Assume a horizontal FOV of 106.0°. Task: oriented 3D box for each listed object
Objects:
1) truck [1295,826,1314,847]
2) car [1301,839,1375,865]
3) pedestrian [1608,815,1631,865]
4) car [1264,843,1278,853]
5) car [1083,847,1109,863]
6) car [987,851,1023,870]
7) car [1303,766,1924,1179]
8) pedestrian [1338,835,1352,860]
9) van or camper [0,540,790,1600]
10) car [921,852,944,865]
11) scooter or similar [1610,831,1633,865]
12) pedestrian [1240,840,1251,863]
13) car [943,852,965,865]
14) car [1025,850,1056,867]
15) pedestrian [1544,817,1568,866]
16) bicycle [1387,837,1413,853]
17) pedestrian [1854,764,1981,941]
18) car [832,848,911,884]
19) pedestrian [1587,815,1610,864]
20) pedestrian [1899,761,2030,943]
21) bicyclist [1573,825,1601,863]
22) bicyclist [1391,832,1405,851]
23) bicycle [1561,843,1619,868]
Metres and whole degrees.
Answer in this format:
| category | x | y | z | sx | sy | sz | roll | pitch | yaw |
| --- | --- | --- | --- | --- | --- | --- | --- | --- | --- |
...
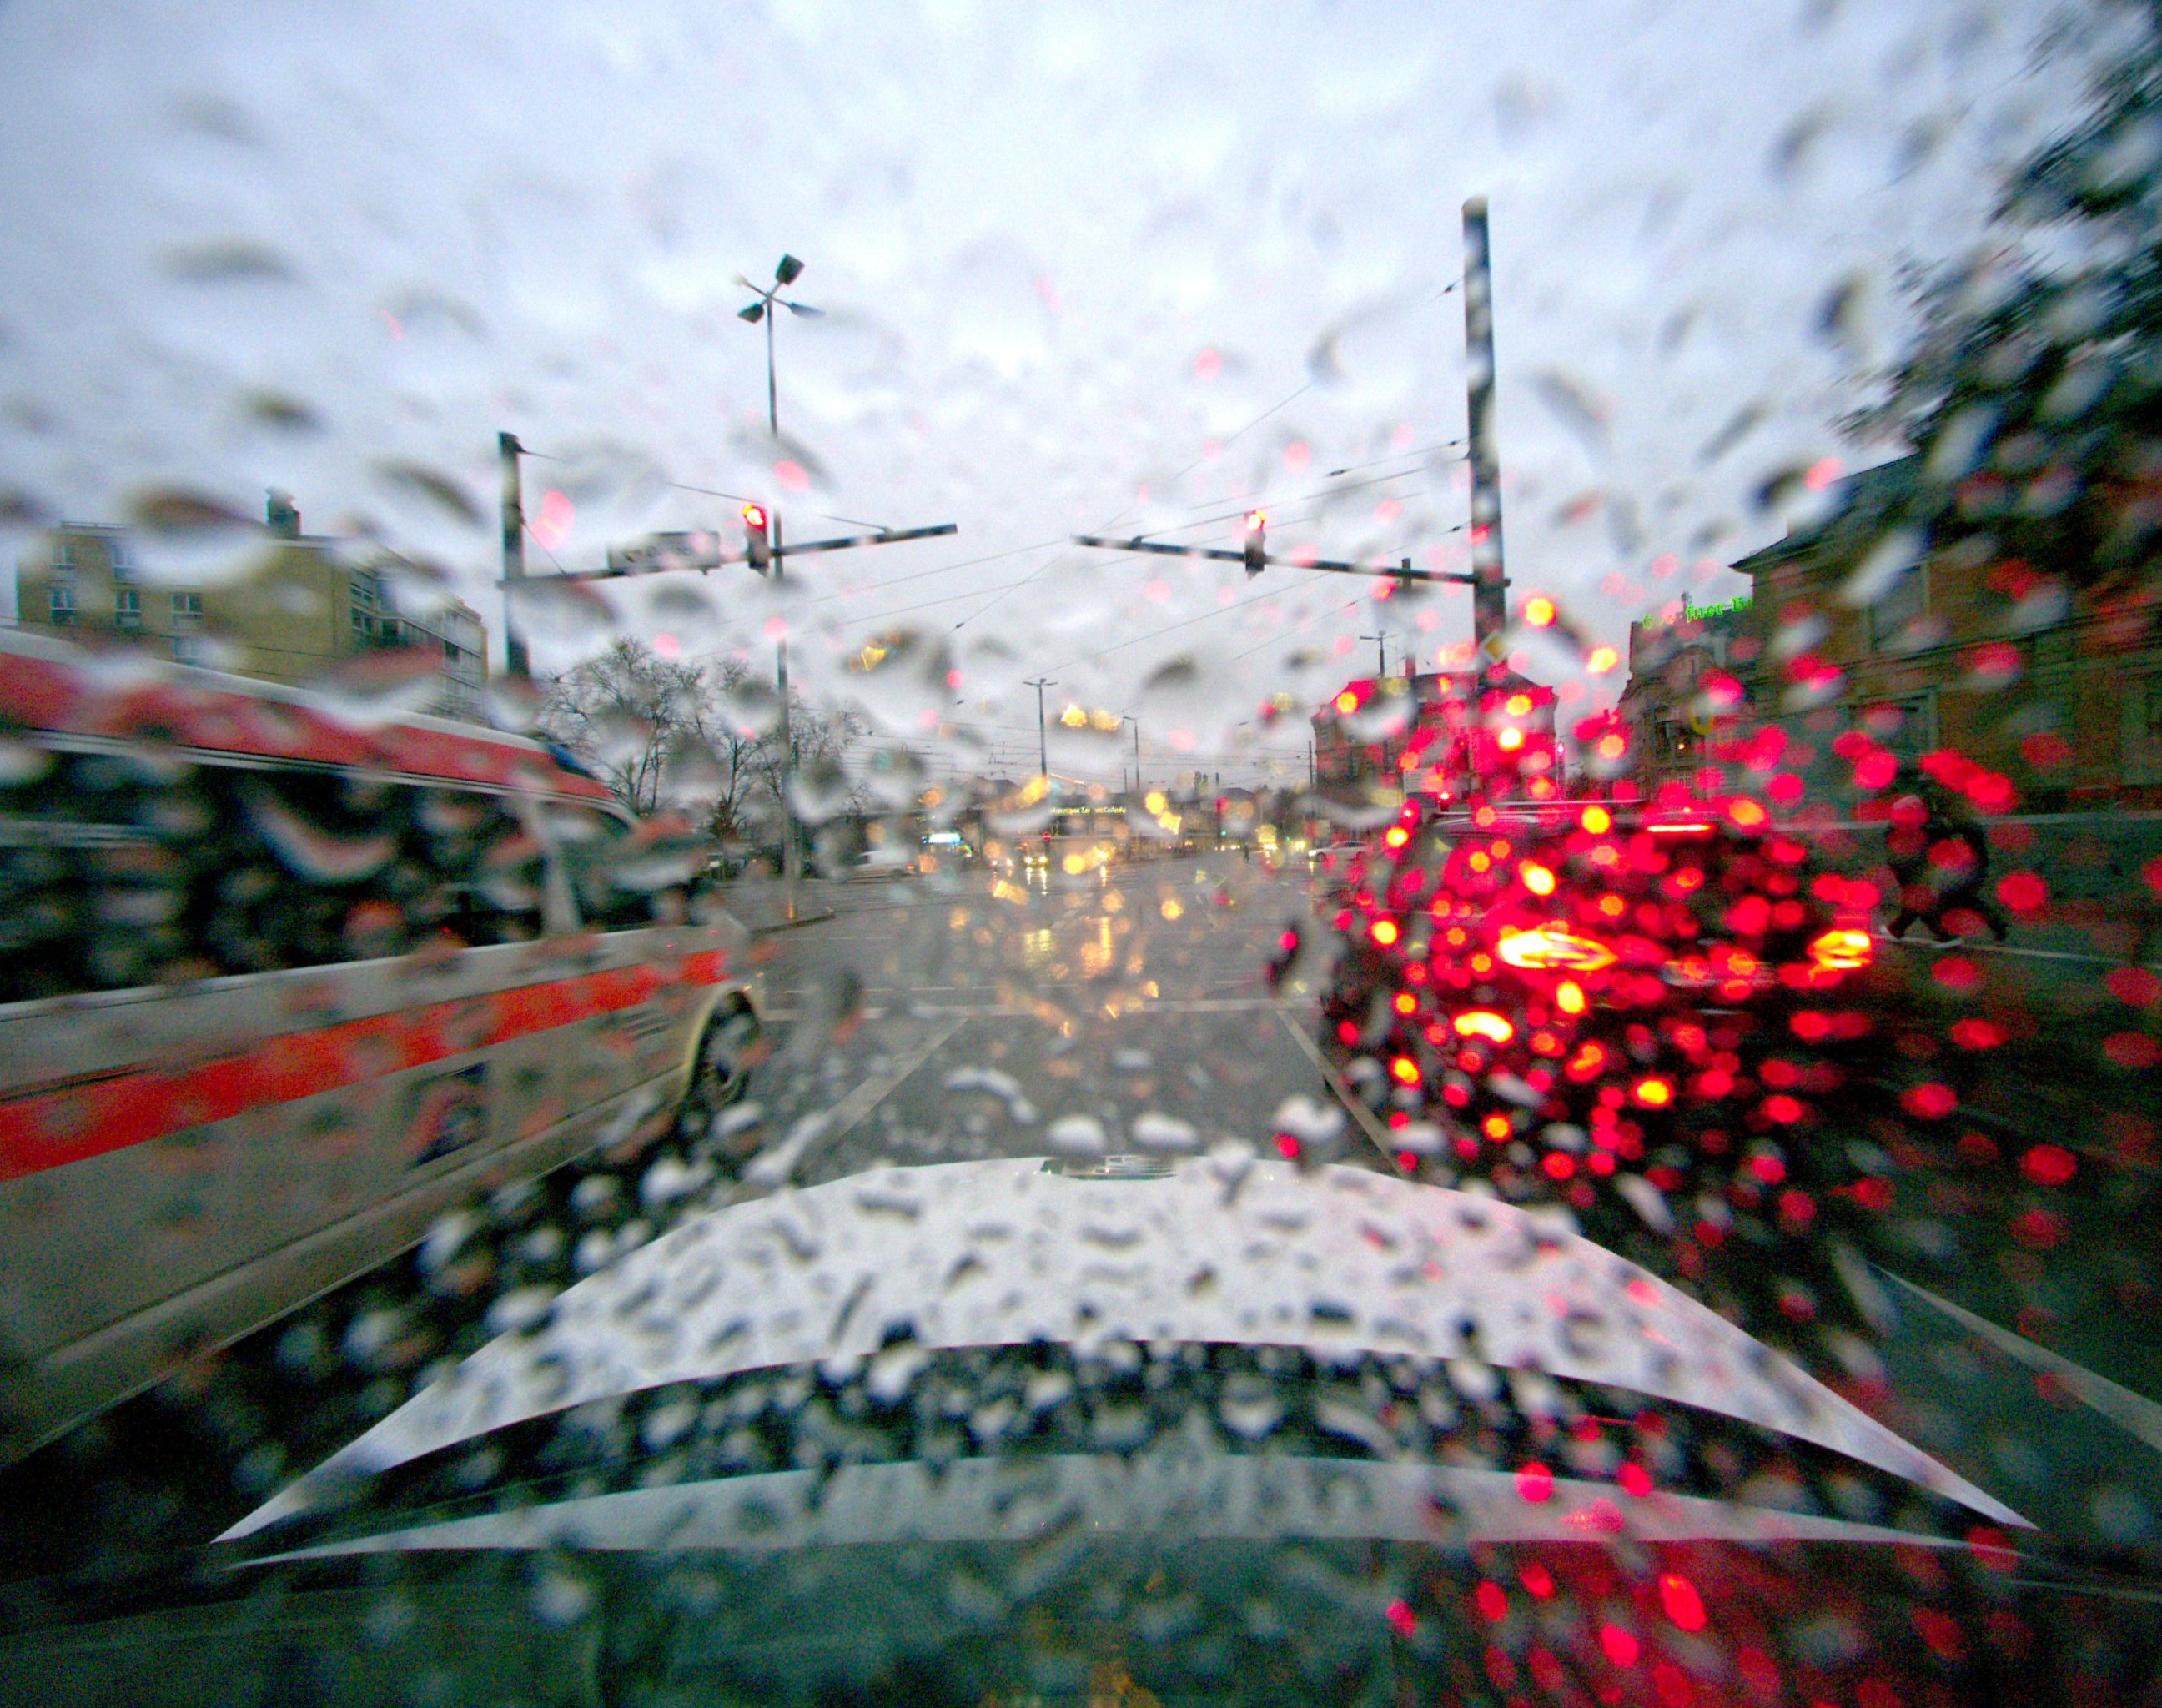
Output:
| category | x | y | z | sx | sy | sz | roll | pitch | yaw |
| --- | --- | --- | --- | --- | --- | --- | --- | --- | --- |
| truck | 30.185 | -2.292 | 109.772 | 1.977 | 2.691 | 5.141 | -3 | 0 | 20 |
| car | 18.340 | -0.163 | 58.298 | 4.776 | 1.657 | 1.742 | -2 | 0 | 4 |
| pedestrian | 21.500 | -0.572 | 32.524 | 0.669 | 1.950 | 0.666 | -2 | 0 | 30 |
| car | 34.173 | -1.131 | 146.376 | 1.847 | 1.601 | 3.806 | -2 | 0 | 20 |
| car | 1.464 | 0.057 | 78.552 | 1.801 | 1.446 | 4.013 | -3 | 0 | 11 |
| car | -6.209 | 0.493 | 67.307 | 1.801 | 1.446 | 4.013 | -3 | 0 | 11 |
| car | 2.934 | 0.508 | 5.800 | 1.770 | 1.800 | 4.430 | -1 | 1 | 4 |
| pedestrian | 22.502 | -0.548 | 69.460 | 0.732 | 2.013 | 0.782 | -2 | 0 | -27 |
| van or camper | -3.175 | 0.437 | 2.904 | 2.192 | 2.109 | 4.992 | -1 | 0 | 3 |
| car | -19.189 | 0.604 | 105.446 | 1.854 | 1.601 | 4.005 | -3 | 0 | 4 |
| scooter or similar | 21.134 | -0.240 | 31.867 | 0.669 | 1.317 | 0.832 | -2 | 0 | 30 |
| pedestrian | 13.583 | -0.186 | 67.273 | 0.595 | 1.840 | 0.612 | -3 | 0 | -32 |
| car | -16.327 | 0.523 | 105.131 | 1.854 | 1.601 | 4.005 | -3 | 0 | 4 |
| car | -3.613 | 0.375 | 73.909 | 1.801 | 1.446 | 4.013 | -3 | 0 | 11 |
| pedestrian | 19.352 | -0.496 | 33.159 | 0.669 | 1.950 | 0.681 | -3 | 0 | 38 |
| bicycle | 30.796 | -0.856 | 78.602 | 2.179 | 1.376 | 0.702 | -3 | 0 | 33 |
| pedestrian | 9.614 | -0.031 | 9.398 | 0.800 | 1.929 | 0.765 | 0 | 3 | 26 |
| car | -12.305 | 0.731 | 47.905 | 4.411 | 2.014 | 1.901 | 0 | -3 | -16 |
| pedestrian | 20.923 | -0.574 | 32.920 | 0.669 | 1.950 | 0.666 | -2 | 0 | 30 |
| pedestrian | 10.262 | -0.033 | 9.501 | 0.800 | 2.013 | 0.765 | 0 | 3 | 26 |
| bicyclist | 21.905 | -0.436 | 35.276 | 0.772 | 1.575 | 0.697 | -2 | 0 | 6 |
| bicyclist | 30.646 | -1.207 | 78.718 | 1.058 | 1.768 | 1.057 | -3 | 0 | 33 |
| bicycle | 22.035 | 0.050 | 35.268 | 1.997 | 0.980 | 0.697 | -2 | 0 | 6 |
